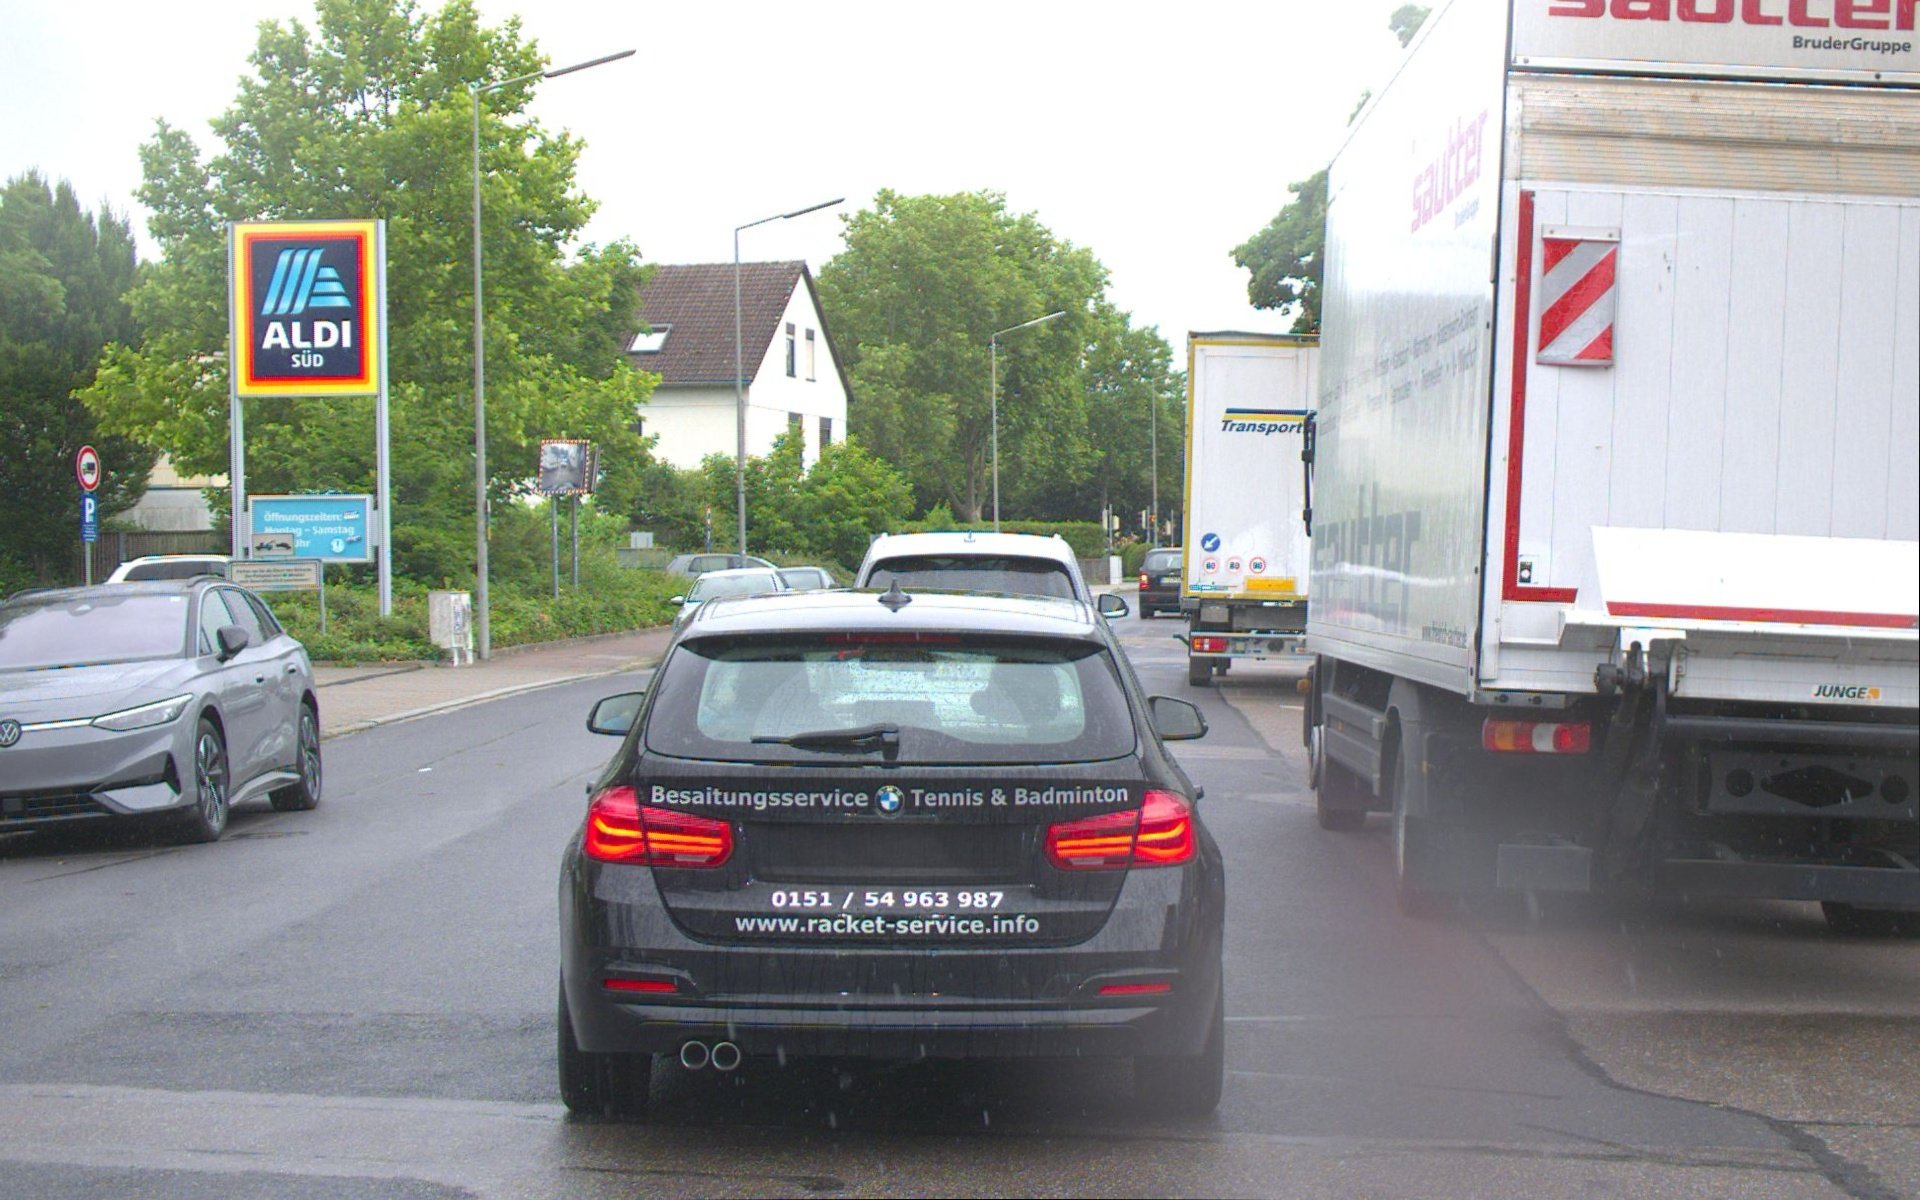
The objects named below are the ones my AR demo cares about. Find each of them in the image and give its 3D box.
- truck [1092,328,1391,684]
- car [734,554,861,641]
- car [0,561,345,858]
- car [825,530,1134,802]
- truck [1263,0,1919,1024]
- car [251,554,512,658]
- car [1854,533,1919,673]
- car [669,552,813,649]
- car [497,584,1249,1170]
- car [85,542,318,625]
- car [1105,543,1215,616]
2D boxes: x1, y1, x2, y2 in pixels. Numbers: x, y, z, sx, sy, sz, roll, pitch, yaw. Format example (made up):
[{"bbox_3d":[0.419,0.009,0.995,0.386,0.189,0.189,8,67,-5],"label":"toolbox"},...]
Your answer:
[{"bbox_3d":[3.067,-1.035,39.543,2.741,3.598,7.750,2,1,0],"label":"truck"},{"bbox_3d":[-2.797,-0.072,59.977,1.706,1.362,3.837,-3,1,4],"label":"car"},{"bbox_3d":[-5.095,0.592,20.804,1.809,1.523,4.748,-4,1,0],"label":"car"},{"bbox_3d":[0.072,0.369,22.144,1.804,1.581,4.000,0,0,-1],"label":"car"},{"bbox_3d":[3.191,-0.552,16.073,2.741,3.776,9.299,2,1,1],"label":"truck"},{"bbox_3d":[-8.675,0.075,51.763,3.570,1.455,1.712,1,1,3],"label":"car"},{"bbox_3d":[11.833,0.019,35.576,4.671,1.463,1.787,0,1,39],"label":"car"},{"bbox_3d":[-3.394,-0.023,53.931,1.705,1.362,4.601,-3,1,3],"label":"car"},{"bbox_3d":[-0.251,0.660,10.287,1.804,1.390,4.000,0,0,-1],"label":"car"},{"bbox_3d":[-14.465,-0.323,65.712,3.987,1.535,1.910,0,1,2],"label":"car"},{"bbox_3d":[4.518,-0.464,77.128,1.805,1.581,3.998,0,0,13],"label":"car"}]
